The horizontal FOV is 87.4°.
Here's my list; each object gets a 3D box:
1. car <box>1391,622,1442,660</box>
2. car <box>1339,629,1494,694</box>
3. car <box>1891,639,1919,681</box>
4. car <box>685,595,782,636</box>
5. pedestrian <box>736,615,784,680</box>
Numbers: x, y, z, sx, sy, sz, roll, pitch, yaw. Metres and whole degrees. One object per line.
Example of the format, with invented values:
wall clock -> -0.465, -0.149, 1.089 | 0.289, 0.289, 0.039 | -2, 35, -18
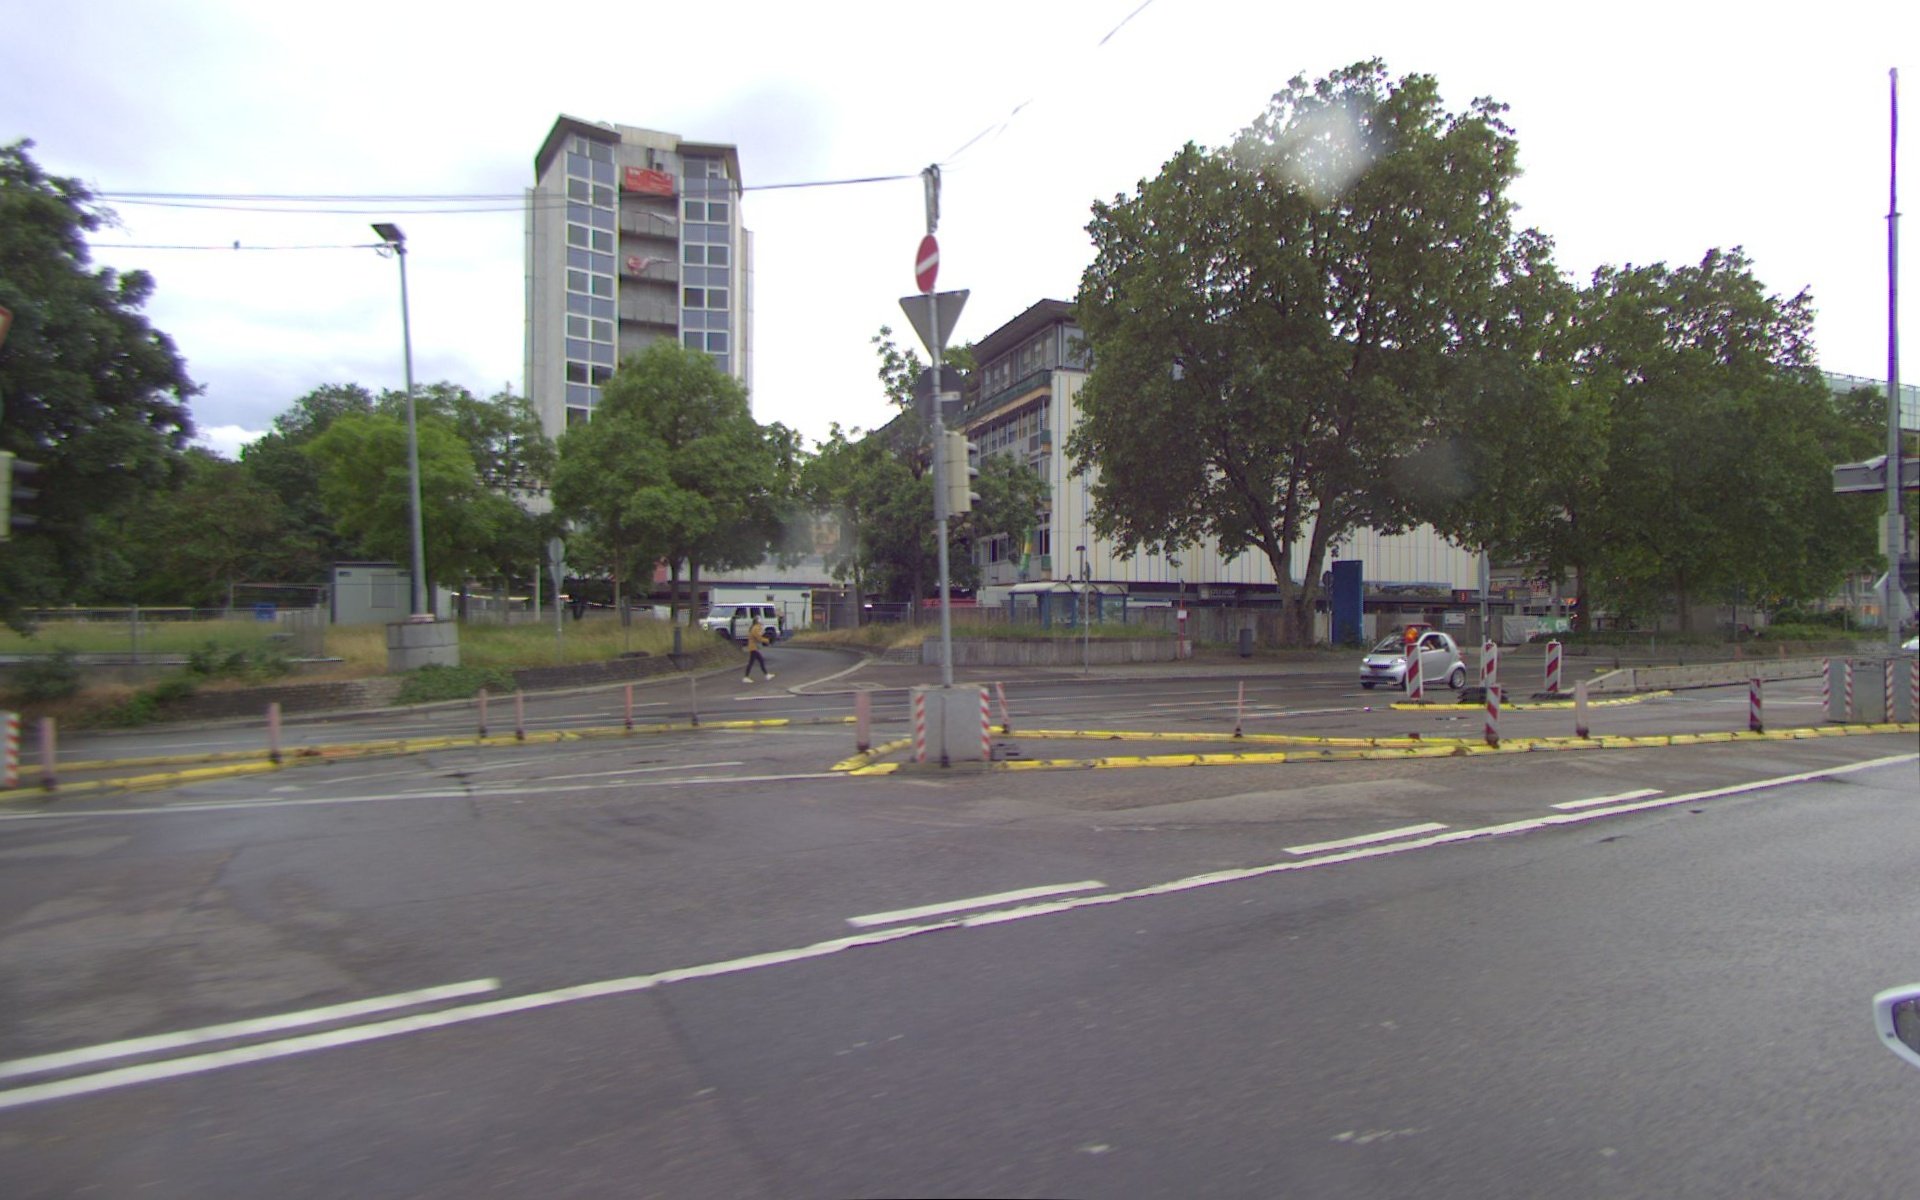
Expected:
car -> 21.412, 1.975, 47.232 | 1.871, 1.547, 4.007 | 0, -5, 20
car -> 12.512, 1.707, 27.490 | 4.131, 1.547, 1.893 | 5, -5, -31
car -> 39.559, 2.458, 40.496 | 4.131, 1.547, 1.893 | 5, -5, -31
car -> -10.353, 0.736, 46.115 | 1.880, 1.547, 3.988 | -2, -6, 40
pedestrian -> -5.018, 1.199, 25.260 | 1.094, 1.577, 0.588 | 3, -4, -12
